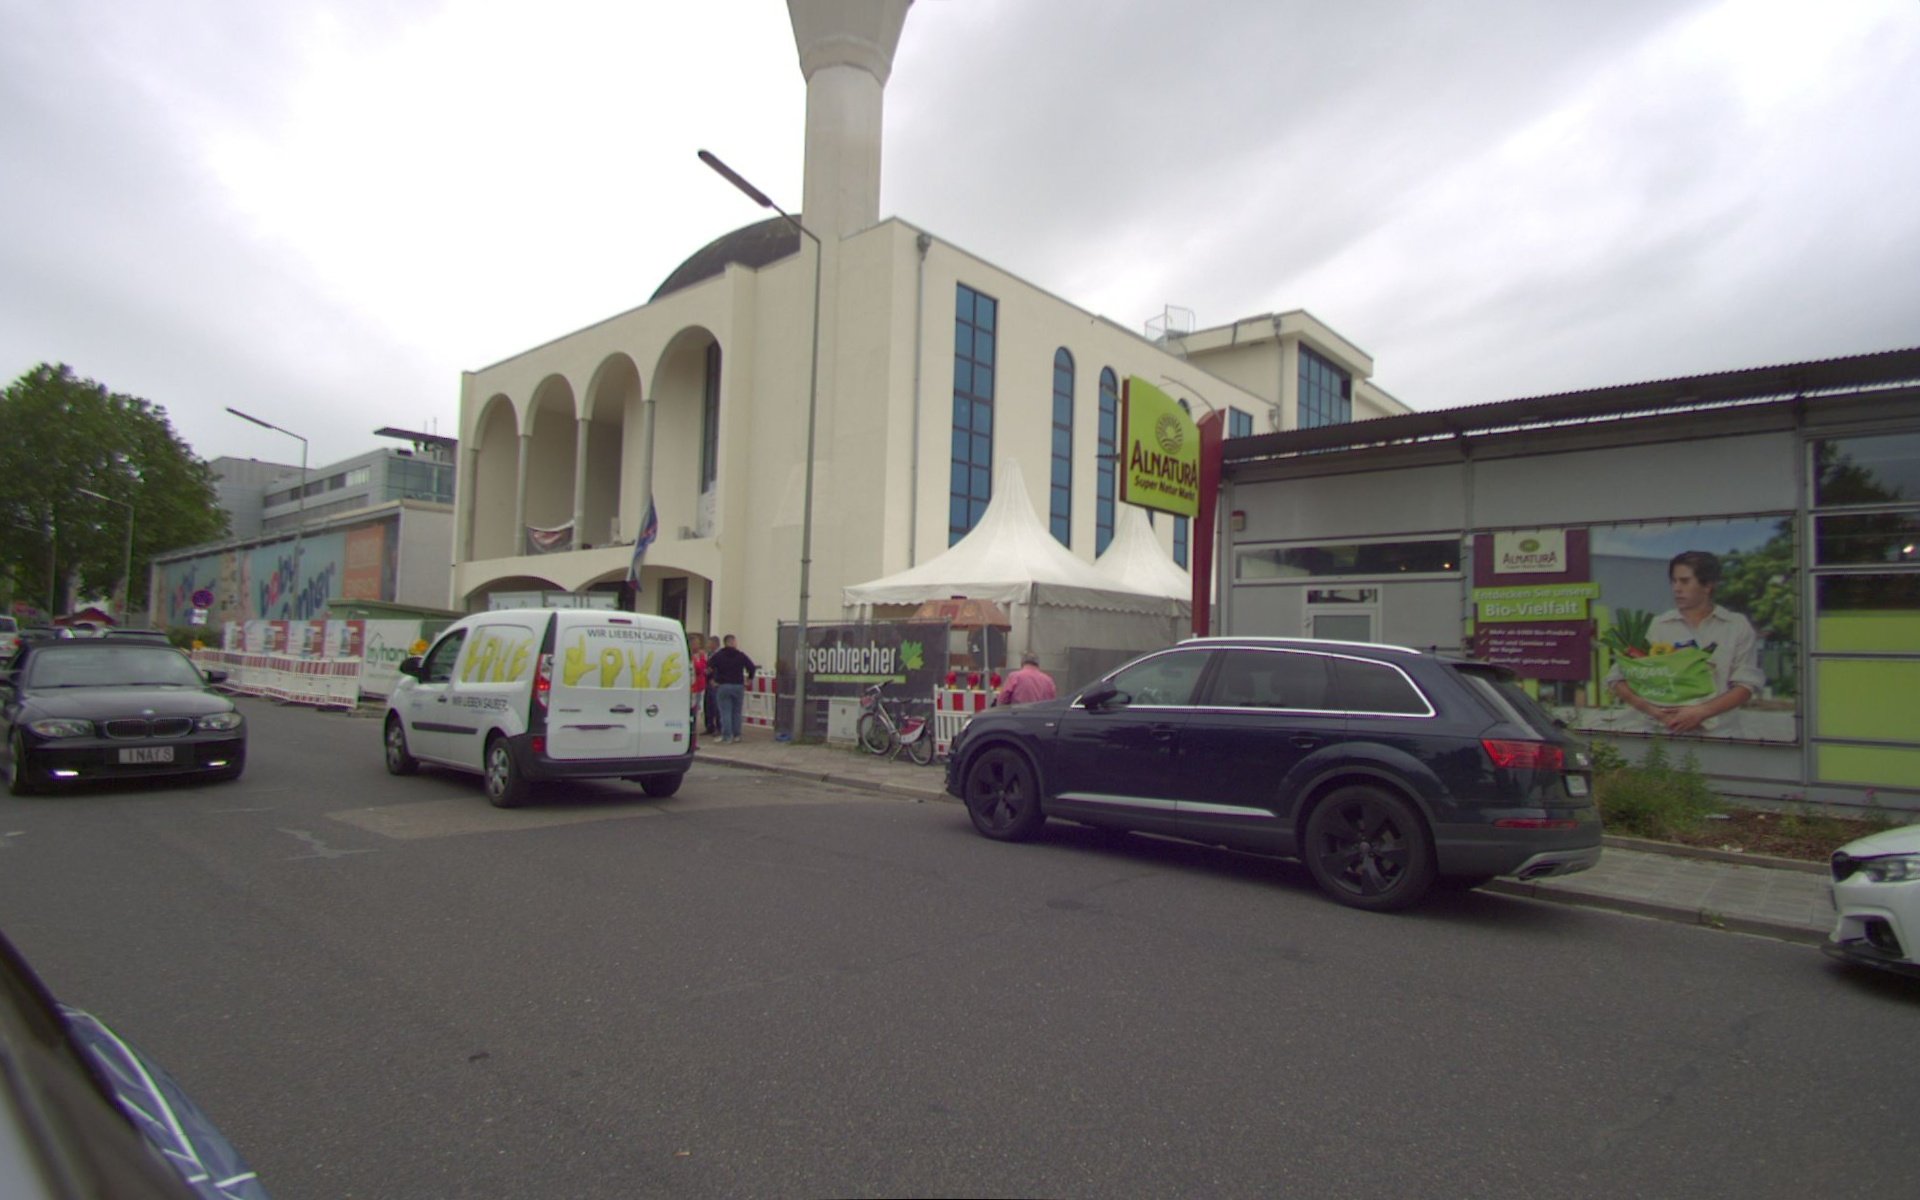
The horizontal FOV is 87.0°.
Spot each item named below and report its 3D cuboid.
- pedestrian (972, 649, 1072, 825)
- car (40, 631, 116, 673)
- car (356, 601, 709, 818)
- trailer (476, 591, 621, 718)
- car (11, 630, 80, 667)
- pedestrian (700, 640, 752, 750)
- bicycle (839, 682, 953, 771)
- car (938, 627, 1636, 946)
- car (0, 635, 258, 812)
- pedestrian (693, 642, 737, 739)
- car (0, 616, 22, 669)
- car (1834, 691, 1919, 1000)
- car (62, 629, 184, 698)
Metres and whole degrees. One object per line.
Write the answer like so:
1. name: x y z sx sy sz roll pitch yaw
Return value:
1. pedestrian: 0.606 1.334 9.958 0.664 1.634 0.655 7 -7 -23
2. car: -38.272 2.247 43.900 4.149 1.586 1.903 -2 -8 43
3. car: -4.481 0.990 10.301 4.134 1.774 1.671 -2 -5 43
4. trailer: -9.259 1.218 22.693 3.192 2.627 1.777 -2 -5 45
5. car: -43.575 2.289 48.202 4.149 1.586 1.903 -2 -8 43
6. pedestrian: -3.796 1.524 16.465 0.685 1.731 0.688 -2 -3 -4
7. bicycle: -0.941 1.767 14.456 0.537 1.086 1.903 4 -3 -42
8. car: 2.210 1.157 7.762 4.728 1.704 1.845 -2 -8 43
9. car: -8.685 1.074 10.206 4.137 1.369 1.727 -1 -2 42
10. pedestrian: -4.227 1.539 17.466 0.532 1.624 0.491 3 -3 -43
11. car: -39.295 1.635 40.614 4.955 2.029 1.906 -1 -4 43
12. car: 6.421 1.210 3.954 4.516 1.378 1.681 -1 -9 41
13. car: -21.226 1.574 25.611 3.945 1.584 1.710 -1 -6 42
